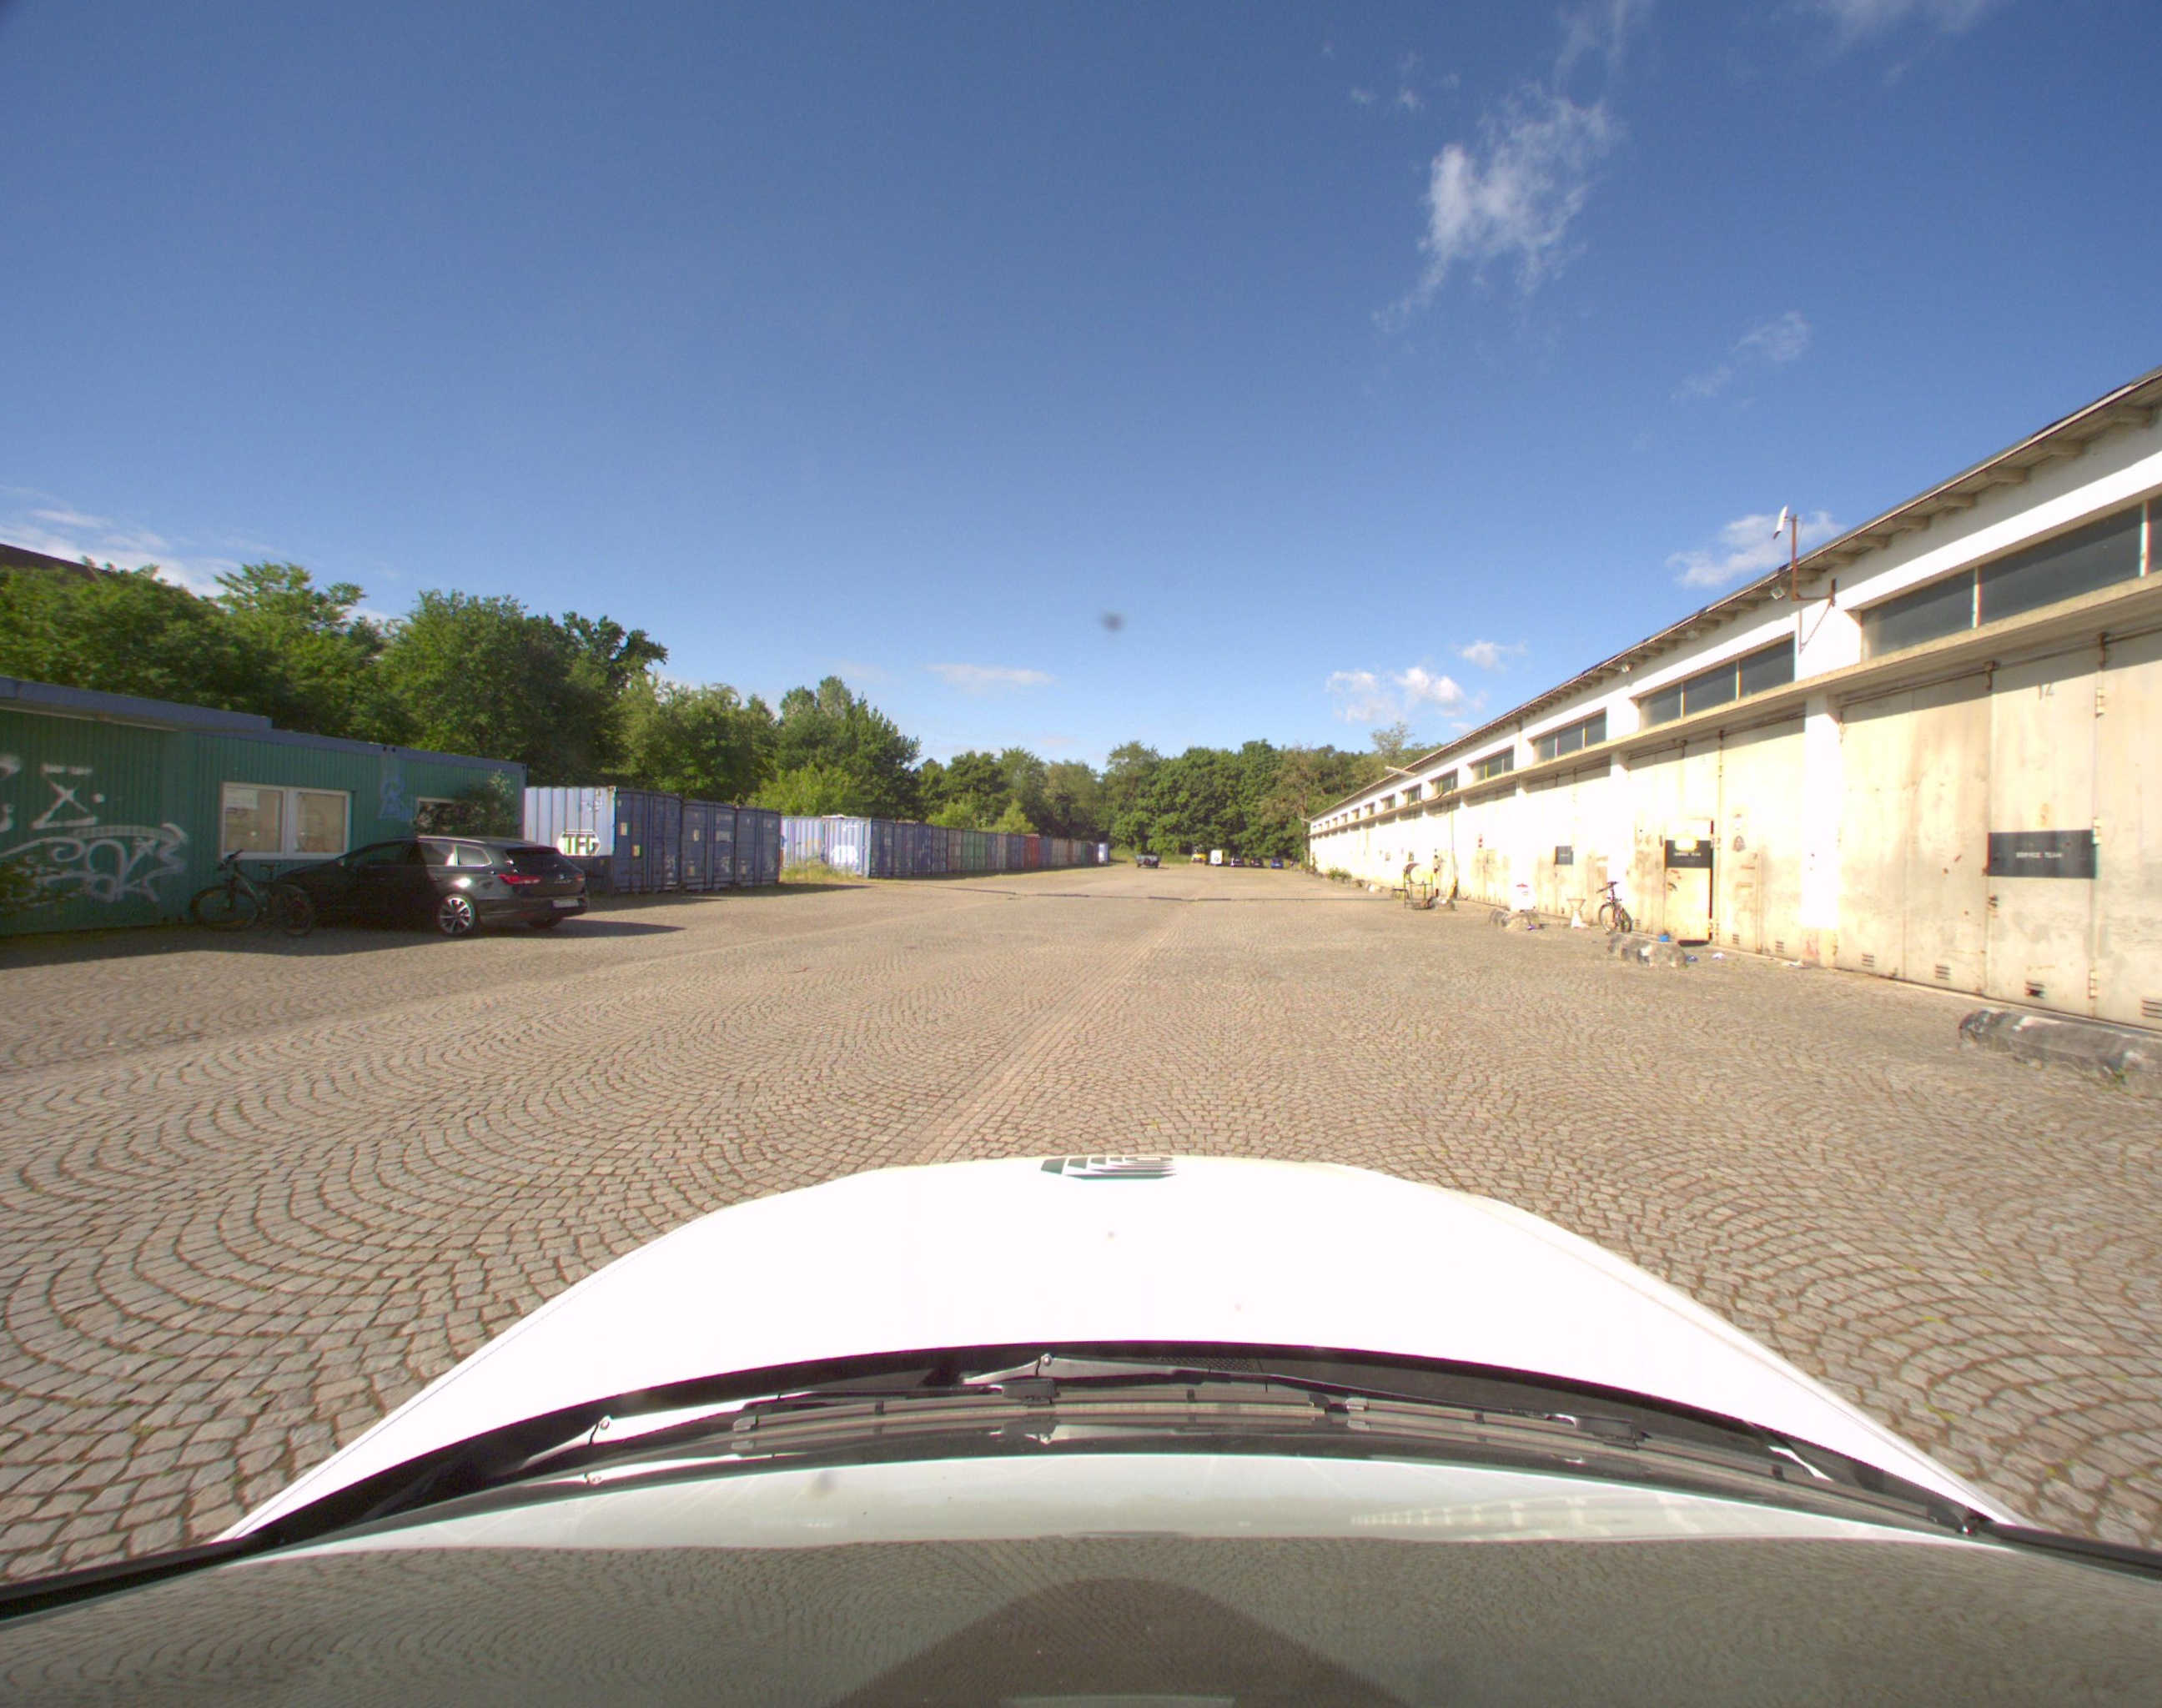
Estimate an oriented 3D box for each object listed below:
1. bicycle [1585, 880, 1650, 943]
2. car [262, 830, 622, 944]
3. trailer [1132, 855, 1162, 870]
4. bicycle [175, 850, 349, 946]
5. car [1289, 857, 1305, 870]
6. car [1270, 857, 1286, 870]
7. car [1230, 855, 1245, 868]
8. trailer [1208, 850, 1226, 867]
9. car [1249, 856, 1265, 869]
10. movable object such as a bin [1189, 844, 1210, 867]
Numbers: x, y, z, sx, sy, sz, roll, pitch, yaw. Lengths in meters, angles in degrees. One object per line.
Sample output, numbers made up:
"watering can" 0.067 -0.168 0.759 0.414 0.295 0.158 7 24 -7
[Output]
"bicycle" 10.051 1.048 15.315 0.659 1.068 1.834 2 -1 23
"car" -9.802 0.464 12.682 4.227 1.449 1.936 2 -1 8
"trailer" 7.446 0.925 91.048 2.689 1.465 6.264 3 1 9
"bicycle" -11.088 0.576 11.050 1.793 1.170 0.670 2 -1 8
"car" 28.359 1.247 107.030 1.730 1.436 4.202 3 2 18
"car" 25.694 1.218 106.082 1.731 1.436 4.201 3 2 16
"car" 20.500 0.966 106.720 1.852 1.589 4.309 3 1 10
"trailer" 18.316 0.563 109.548 2.179 2.094 5.768 3 1 10
"car" 23.002 1.086 106.637 1.852 1.470 4.309 3 1 10
"movable object such as a bin" 16.112 0.106 110.559 2.291 2.896 5.770 3 1 12
